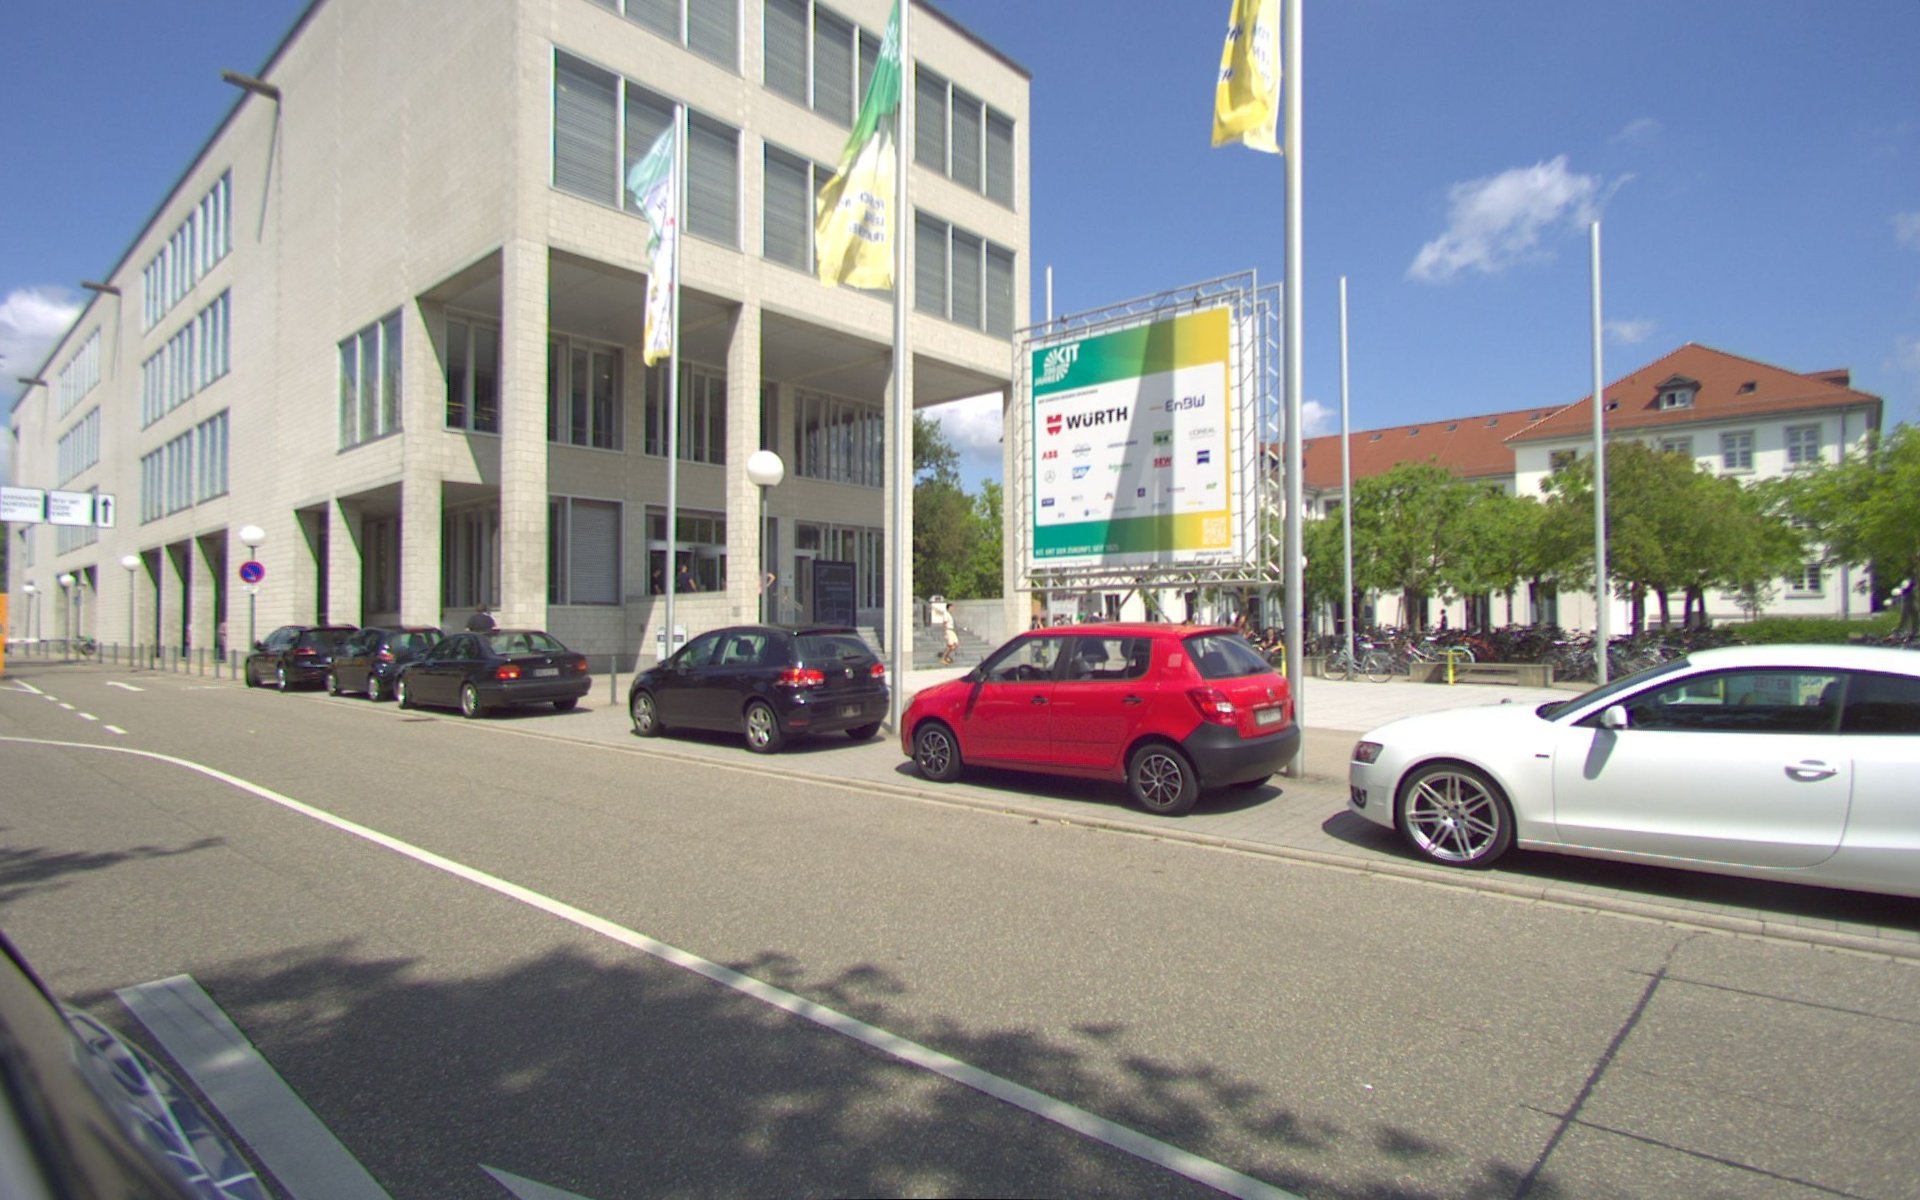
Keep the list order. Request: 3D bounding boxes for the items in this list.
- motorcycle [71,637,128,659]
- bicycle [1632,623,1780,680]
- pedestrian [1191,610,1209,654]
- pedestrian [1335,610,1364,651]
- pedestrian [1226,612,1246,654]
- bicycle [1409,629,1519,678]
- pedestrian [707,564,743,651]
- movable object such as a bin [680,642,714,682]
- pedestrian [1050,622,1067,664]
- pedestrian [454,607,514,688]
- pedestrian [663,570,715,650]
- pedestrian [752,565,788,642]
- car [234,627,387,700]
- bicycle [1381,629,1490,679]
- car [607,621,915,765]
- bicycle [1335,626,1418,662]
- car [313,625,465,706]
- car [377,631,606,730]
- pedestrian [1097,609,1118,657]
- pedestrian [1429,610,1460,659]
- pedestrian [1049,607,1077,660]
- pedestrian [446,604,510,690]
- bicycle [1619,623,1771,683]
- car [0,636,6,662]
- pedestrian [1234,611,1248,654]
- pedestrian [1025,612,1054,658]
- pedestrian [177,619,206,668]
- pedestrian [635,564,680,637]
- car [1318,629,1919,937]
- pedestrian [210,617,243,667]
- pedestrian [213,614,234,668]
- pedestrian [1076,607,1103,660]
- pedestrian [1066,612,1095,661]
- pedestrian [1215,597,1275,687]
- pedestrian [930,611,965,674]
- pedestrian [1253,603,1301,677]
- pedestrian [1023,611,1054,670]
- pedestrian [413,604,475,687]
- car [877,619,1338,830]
[{"bbox_3d":[-45.479,2.530,53.516,0.772,1.146,2.149,-2,-2,31],"label":"motorcycle"},{"bbox_3d":[19.551,1.315,26.595,1.049,1.422,2.956,0,-1,-40],"label":"bicycle"},{"bbox_3d":[11.267,1.510,47.485,0.752,2.029,0.734,-1,-1,9],"label":"pedestrian"},{"bbox_3d":[19.400,1.505,50.355,1.042,2.029,0.923,1,-2,-39],"label":"pedestrian"},{"bbox_3d":[14.801,1.757,54.196,0.956,2.217,0.965,-1,-2,19],"label":"pedestrian"},{"bbox_3d":[15.647,1.617,31.555,1.128,1.422,2.961,0,-1,-26],"label":"bicycle"},{"bbox_3d":[-6.736,0.226,29.043,0.731,2.440,0.756,-1,-2,15],"label":"pedestrian"},{"bbox_3d":[-6.362,1.502,24.520,0.595,0.937,0.569,-2,-2,42],"label":"movable object such as a bin"},{"bbox_3d":[4.764,2.064,48.878,0.752,2.029,0.734,-1,-1,9],"label":"pedestrian"},{"bbox_3d":[-12.302,1.222,26.159,1.163,2.029,0.975,-2,-2,38],"label":"pedestrian"},{"bbox_3d":[-7.071,0.273,26.391,0.910,2.029,0.967,-2,-2,42],"label":"pedestrian"},{"bbox_3d":[-5.421,0.102,28.862,0.694,2.161,0.807,0,-2,-37],"label":"pedestrian"},{"bbox_3d":[-15.339,1.426,23.794,4.717,1.478,1.840,-2,0,42],"label":"car"},{"bbox_3d":[14.541,1.620,31.089,1.128,1.422,2.961,0,-1,-26],"label":"bicycle"},{"bbox_3d":[-2.665,1.060,12.893,4.197,1.478,1.729,-2,0,44],"label":"car"},{"bbox_3d":[17.055,1.786,41.518,1.130,1.422,2.956,0,-1,-40],"label":"bicycle"},{"bbox_3d":[-11.872,1.292,20.940,3.705,1.478,1.621,-2,0,42],"label":"car"},{"bbox_3d":[-8.173,1.275,17.389,5.017,1.388,1.839,-2,0,44],"label":"car"},{"bbox_3d":[5.793,1.285,39.763,0.751,1.851,0.700,-1,-1,3],"label":"pedestrian"},{"bbox_3d":[22.194,1.595,46.347,1.041,2.217,1.010,-2,-3,40],"label":"pedestrian"},{"bbox_3d":[3.975,1.301,39.197,0.748,2.029,0.738,0,-1,-33],"label":"pedestrian"},{"bbox_3d":[-11.729,1.130,24.622,1.163,2.029,0.975,-2,-2,38],"label":"pedestrian"},{"bbox_3d":[18.703,1.310,25.830,1.049,1.422,2.956,0,-1,-40],"label":"bicycle"},{"bbox_3d":[-61.112,3.055,63.360,4.405,1.546,1.708,-1,0,42],"label":"car"},{"bbox_3d":[14.557,1.674,52.388,0.674,2.217,0.620,-1,-2,18],"label":"pedestrian"},{"bbox_3d":[2.863,1.255,36.389,0.721,1.626,0.738,0,-2,-41],"label":"pedestrian"},{"bbox_3d":[-32.168,1.807,42.370,0.881,2.029,0.847,-2,-2,44],"label":"pedestrian"},{"bbox_3d":[-8.593,0.021,28.735,0.974,2.029,0.740,-1,-1,21],"label":"pedestrian"},{"bbox_3d":[4.691,0.905,5.839,4.662,1.406,1.658,-2,0,43],"label":"car"},{"bbox_3d":[-30.464,1.731,42.056,1.065,2.029,0.839,-2,-3,40],"label":"pedestrian"},{"bbox_3d":[-28.297,1.559,38.883,0.835,2.029,0.537,-2,-2,44],"label":"pedestrian"},{"bbox_3d":[5.007,1.288,39.139,0.748,2.029,0.738,0,-1,-34],"label":"pedestrian"},{"bbox_3d":[4.405,1.333,37.019,0.738,1.787,0.749,-2,-3,44],"label":"pedestrian"},{"bbox_3d":[6.594,0.959,23.392,0.987,2.029,1.046,-2,-2,38],"label":"pedestrian"},{"bbox_3d":[-0.367,1.218,29.239,0.755,1.770,0.732,-1,-2,25],"label":"pedestrian"},{"bbox_3d":[8.538,1.067,27.249,0.944,1.955,0.975,-2,-2,38],"label":"pedestrian"},{"bbox_3d":[2.391,1.218,30.759,0.753,1.770,0.733,-1,-2,19],"label":"pedestrian"},{"bbox_3d":[-12.910,1.124,25.303,1.163,2.029,0.975,-2,-2,38],"label":"pedestrian"},{"bbox_3d":[1.190,0.959,9.282,3.910,1.478,1.658,-2,0,43],"label":"car"}]
